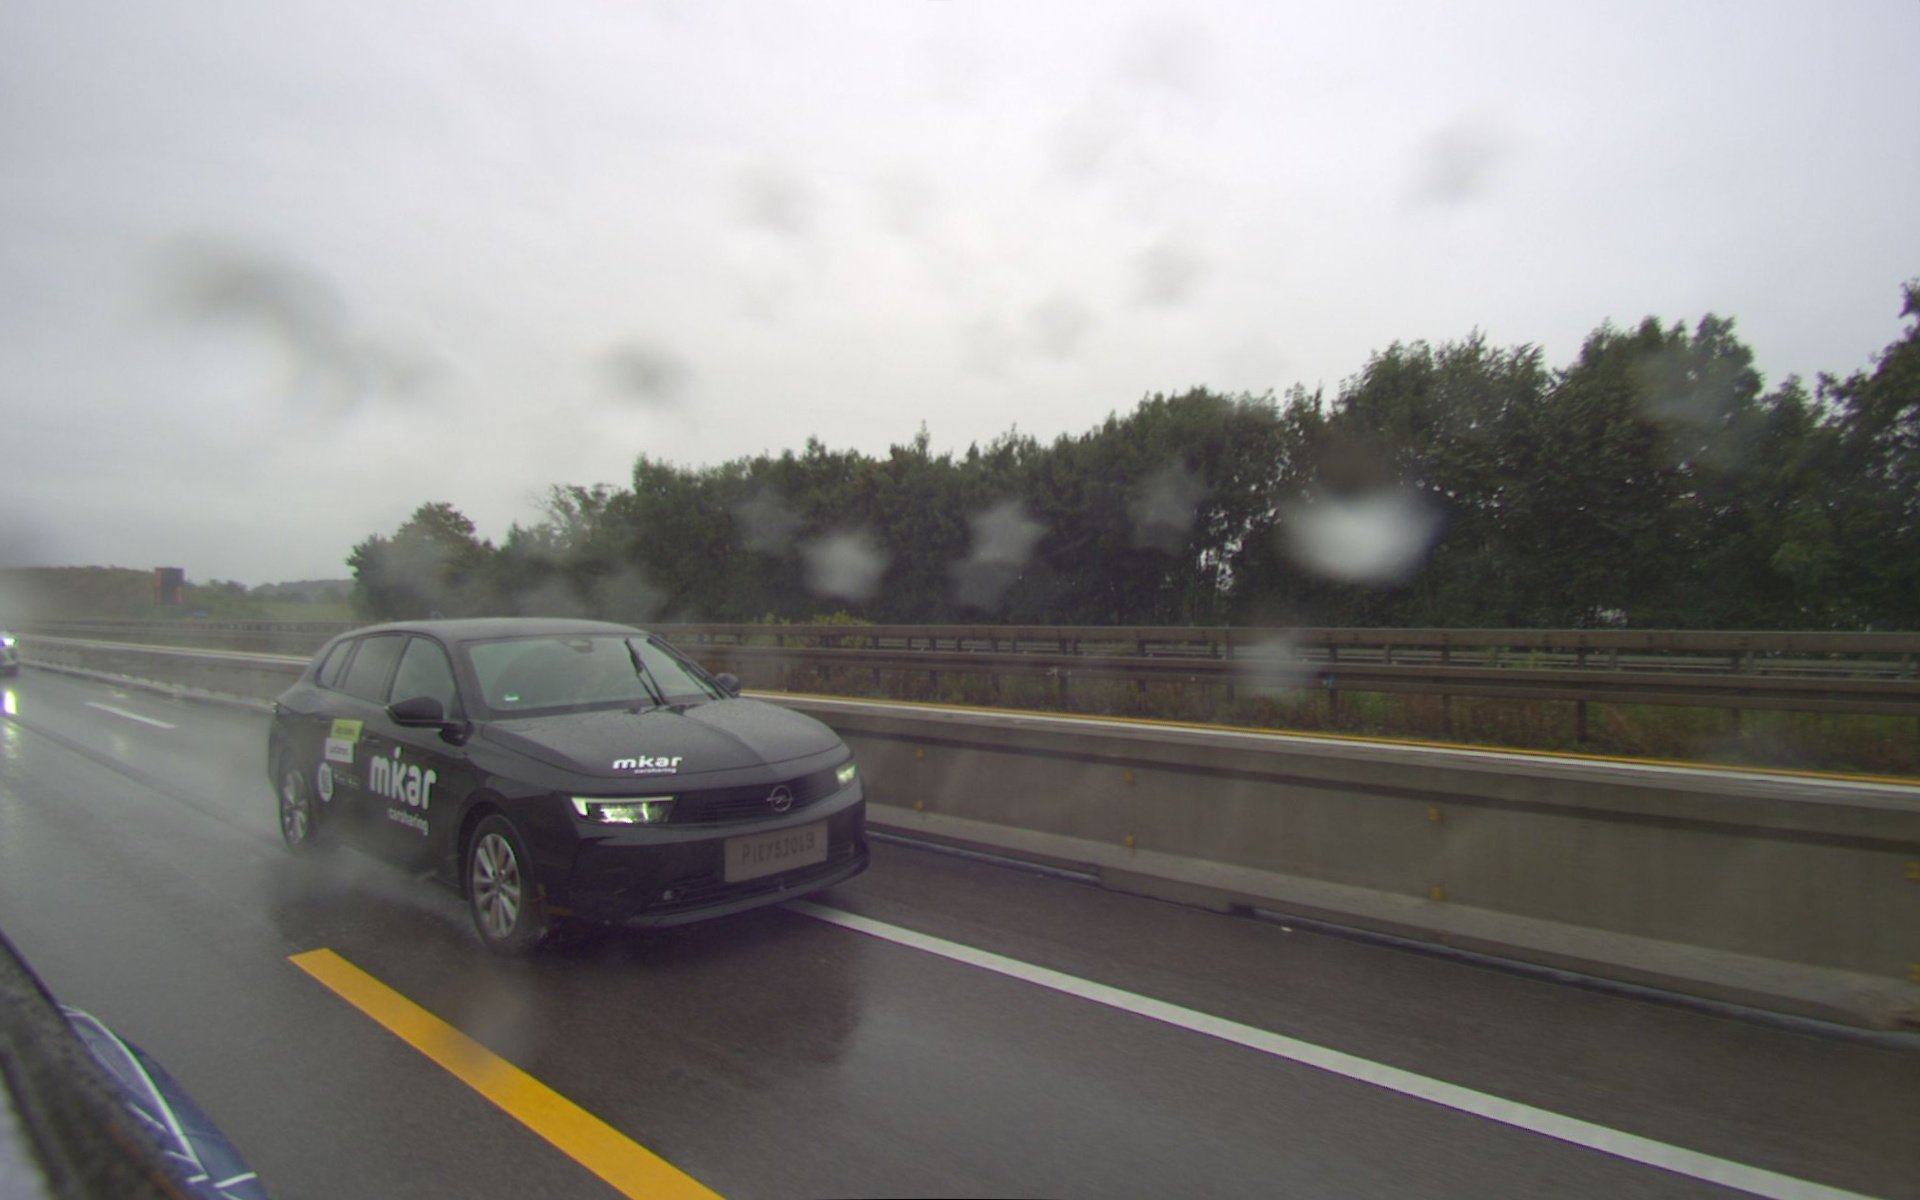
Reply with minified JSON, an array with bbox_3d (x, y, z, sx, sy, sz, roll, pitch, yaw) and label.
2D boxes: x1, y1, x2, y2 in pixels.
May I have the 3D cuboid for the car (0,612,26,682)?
[{"bbox_3d":[-25.614,1.176,25.893,3.995,1.693,1.948,0,0,38],"label":"car"}]

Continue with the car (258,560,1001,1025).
[{"bbox_3d":[-2.209,0.677,5.710,4.796,1.539,1.918,-1,-1,43],"label":"car"}]
